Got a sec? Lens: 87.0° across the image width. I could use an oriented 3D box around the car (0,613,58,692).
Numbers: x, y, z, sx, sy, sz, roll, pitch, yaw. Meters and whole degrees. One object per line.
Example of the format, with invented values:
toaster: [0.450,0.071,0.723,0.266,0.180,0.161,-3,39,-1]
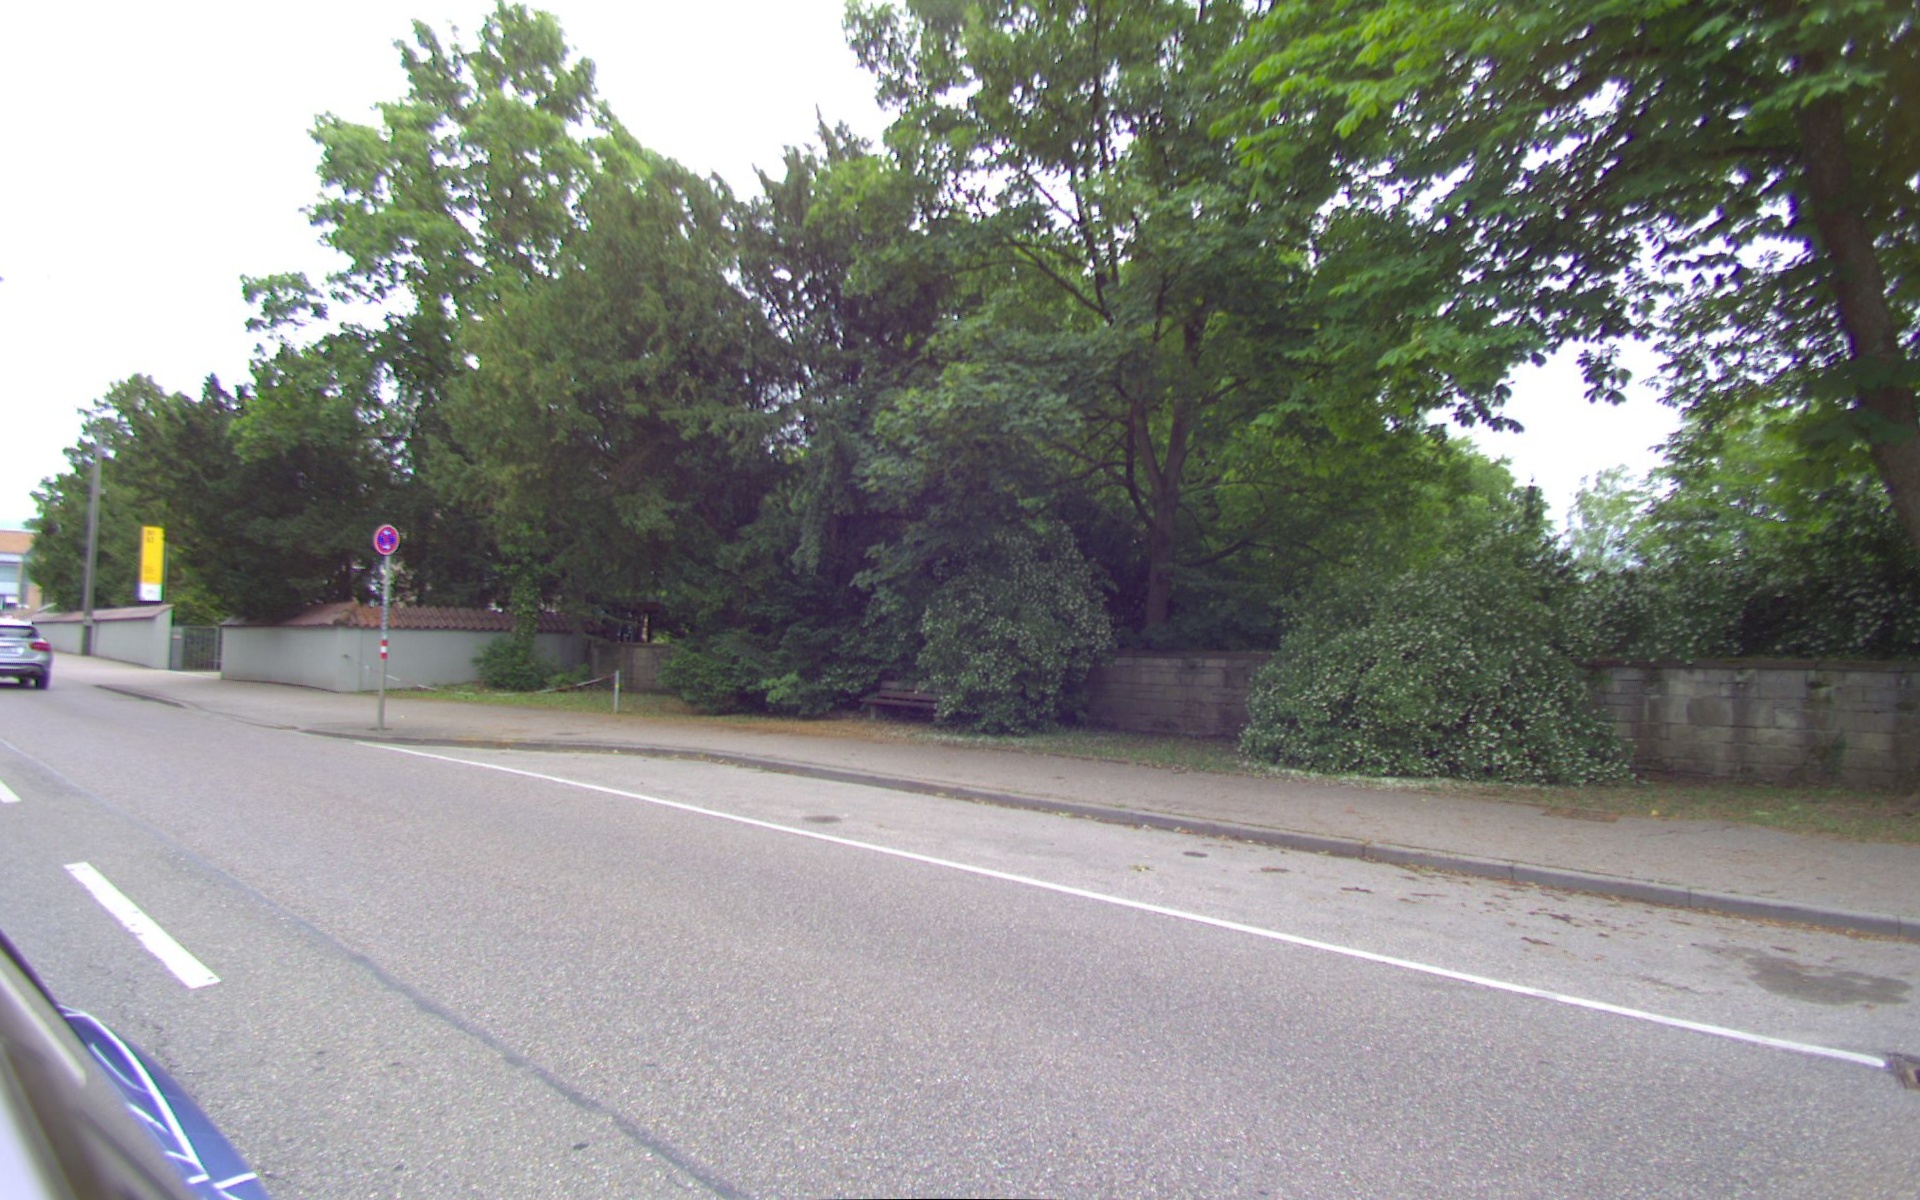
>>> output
car: [-22.056,1.143,22.897,4.117,1.666,1.767,-1,-5,40]
